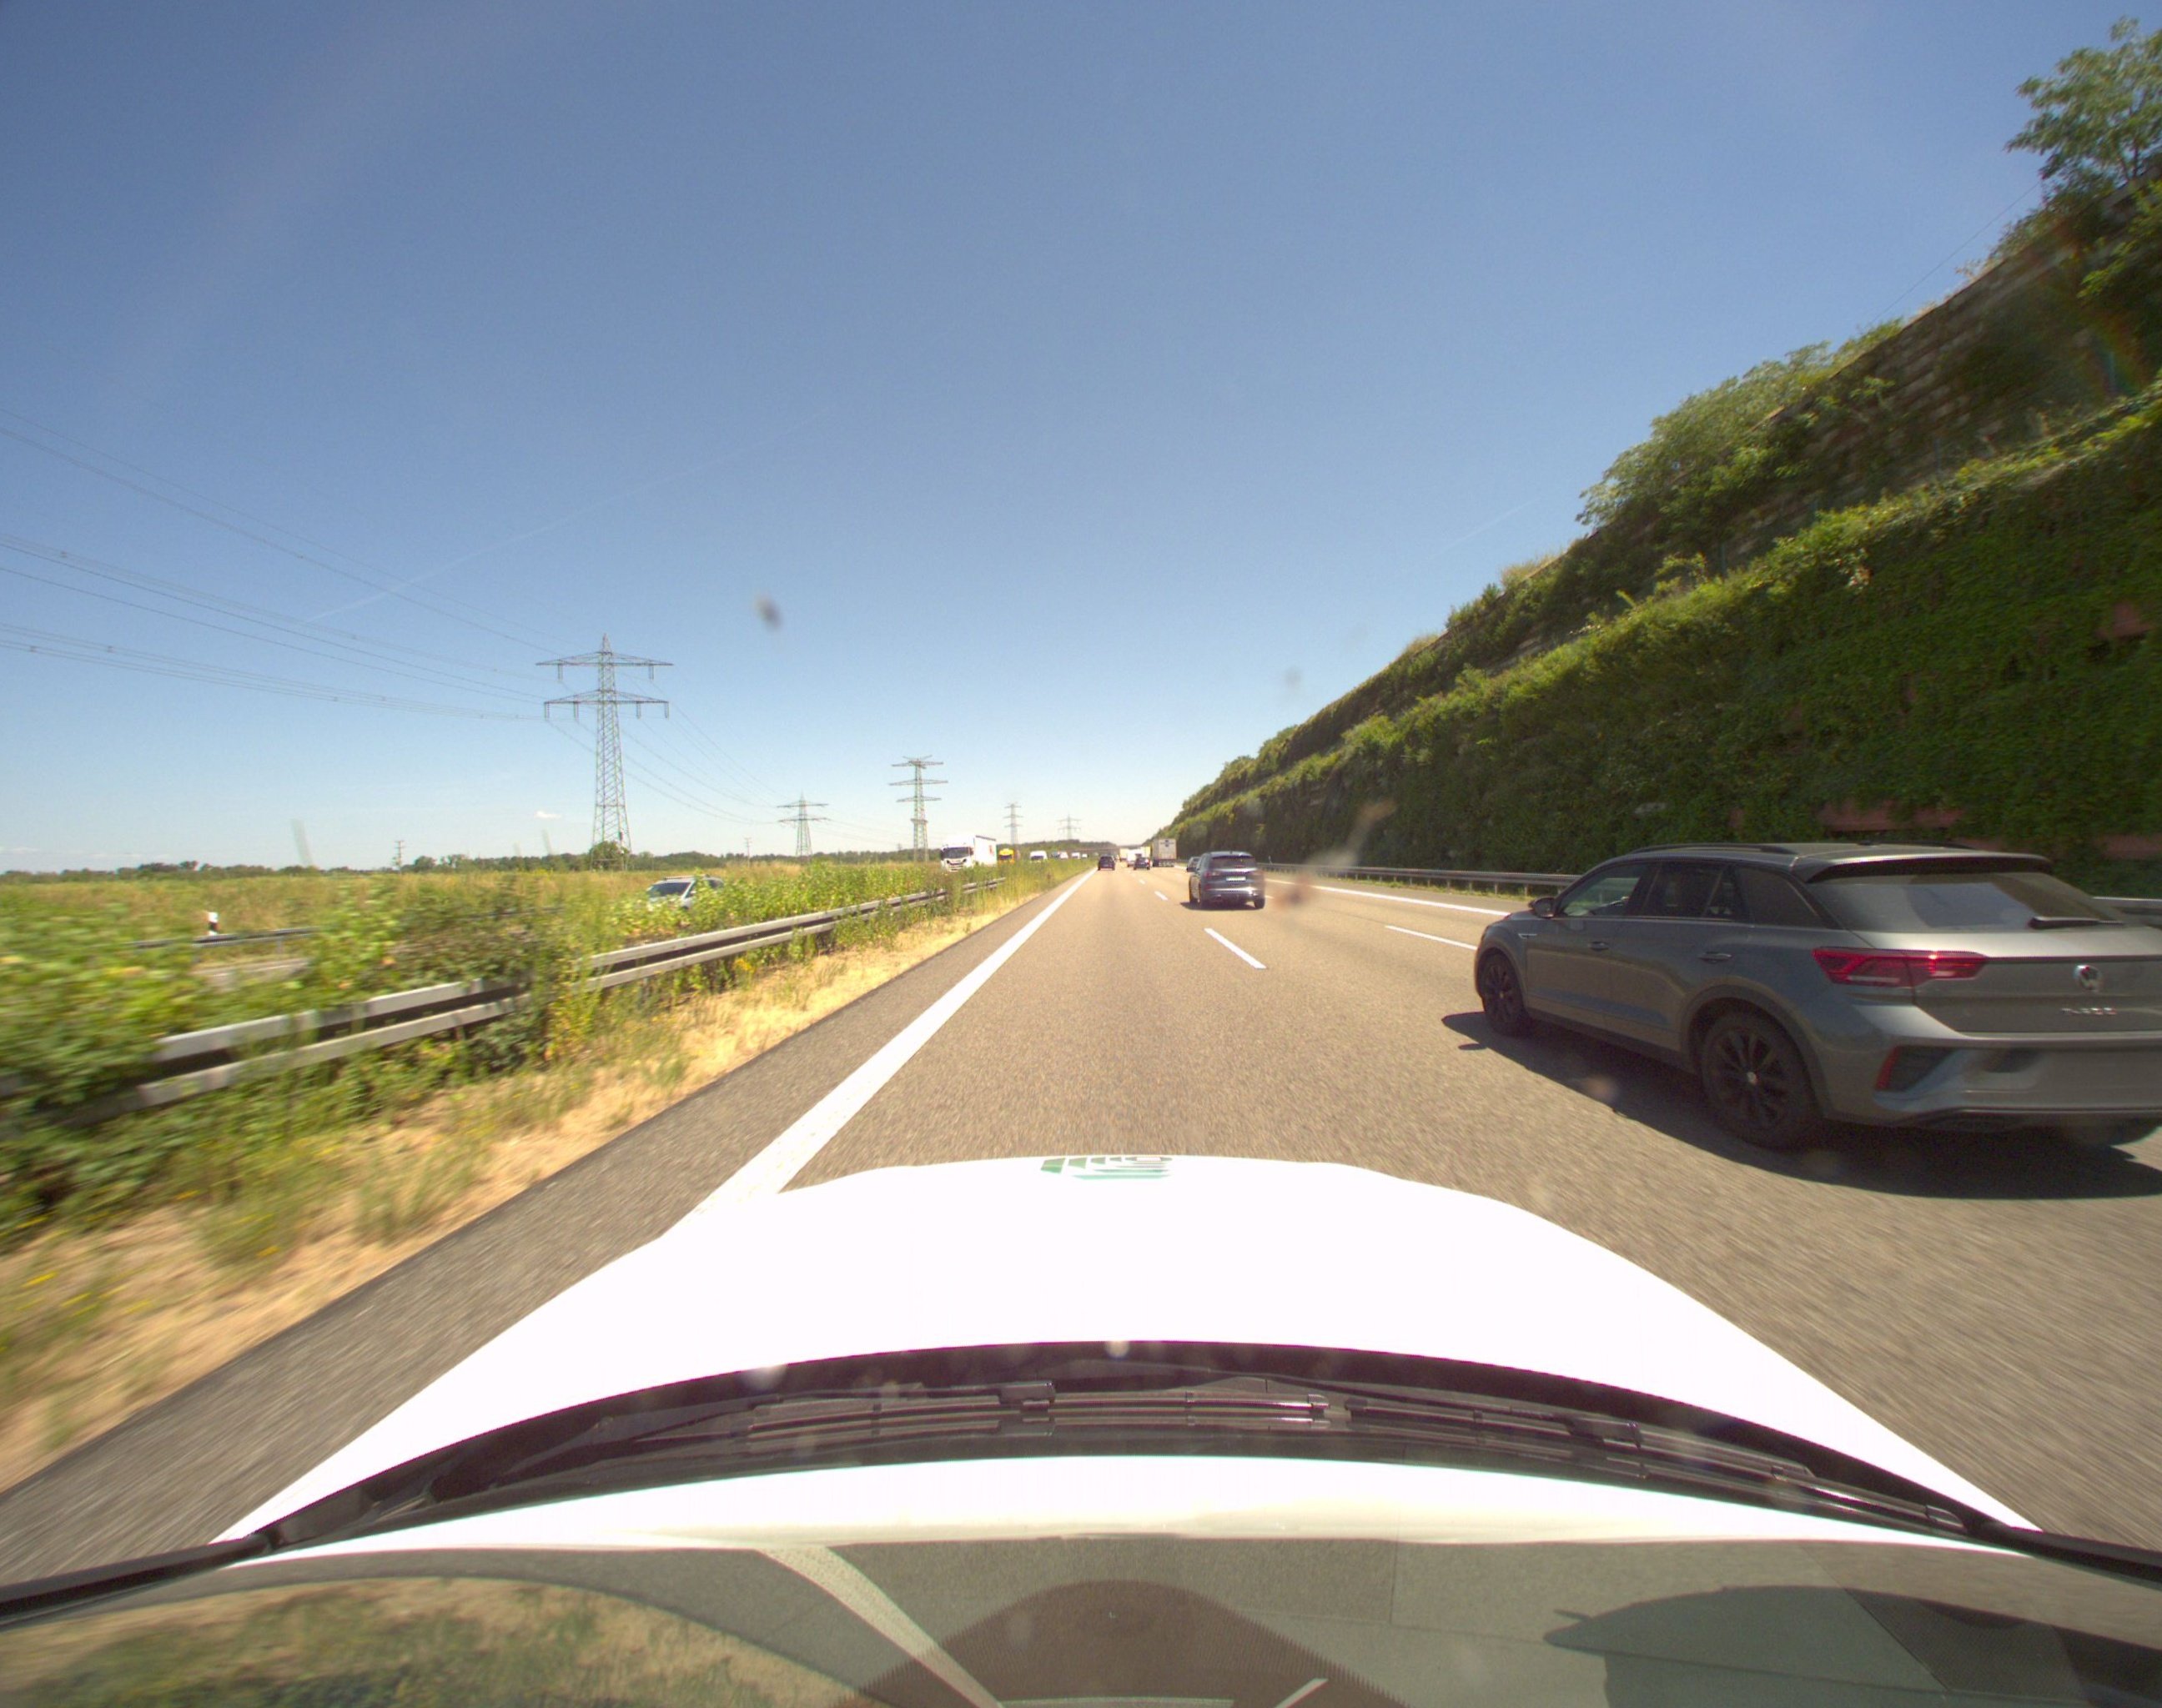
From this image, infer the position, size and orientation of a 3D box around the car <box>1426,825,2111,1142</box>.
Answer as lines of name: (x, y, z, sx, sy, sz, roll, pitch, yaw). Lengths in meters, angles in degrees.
car: (4.253, 0.650, 6.041, 1.743, 1.525, 3.996, -2, 0, 1)

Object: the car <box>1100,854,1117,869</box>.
car: (3.167, 0.874, 94.812, 1.823, 1.670, 4.001, -2, 0, 1)

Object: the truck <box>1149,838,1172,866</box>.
truck: (12.349, -0.222, 126.603, 3.124, 4.142, 5.506, -2, 0, 2)

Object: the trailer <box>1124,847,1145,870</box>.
trailer: (7.916, 0.699, 121.657, 2.601, 3.213, 9.955, -2, 0, 1)

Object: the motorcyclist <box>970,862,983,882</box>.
motorcyclist: (-7.138, 1.235, 55.767, 0.705, 1.347, 1.014, -2, 0, 1)

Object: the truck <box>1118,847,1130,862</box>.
truck: (13.058, 0.121, 248.309, 3.396, 4.280, 10.612, -2, 0, 2)

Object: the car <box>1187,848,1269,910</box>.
car: (4.289, 0.687, 24.352, 1.787, 1.653, 4.139, -1, 0, 2)

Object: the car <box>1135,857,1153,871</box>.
car: (7.296, 1.127, 94.442, 1.822, 1.525, 4.003, -2, 0, 3)

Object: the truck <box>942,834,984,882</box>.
truck: (-10.705, 0.337, 74.573, 2.795, 4.158, 5.572, -1, 0, 2)

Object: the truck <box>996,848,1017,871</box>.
truck: (-12.708, 0.943, 139.144, 2.715, 3.727, 5.648, -2, 0, 2)

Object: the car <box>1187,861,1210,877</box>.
car: (11.126, 1.359, 77.256, 1.678, 1.428, 4.454, -1, 0, 1)

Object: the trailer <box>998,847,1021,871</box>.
trailer: (-12.519, 0.865, 143.603, 2.726, 4.045, 9.428, -2, 0, 2)

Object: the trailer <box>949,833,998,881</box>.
trailer: (-10.556, 0.278, 81.356, 2.760, 4.349, 14.240, -1, 0, 1)

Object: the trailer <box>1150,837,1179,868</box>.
trailer: (12.115, -0.200, 119.615, 3.171, 4.121, 13.437, -2, 0, 2)

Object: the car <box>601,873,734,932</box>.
car: (-12.280, 1.390, 24.503, 1.805, 1.480, 4.002, -2, 0, 2)

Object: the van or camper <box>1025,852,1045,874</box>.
van or camper: (-5.820, 1.099, 103.600, 1.986, 2.582, 6.287, -2, 0, 1)

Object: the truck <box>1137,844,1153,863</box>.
truck: (15.424, -0.059, 197.075, 3.107, 4.280, 11.939, -2, 0, 2)

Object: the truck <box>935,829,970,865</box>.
truck: (-14.176, -0.703, 90.393, 2.765, 3.853, 5.572, -1, 0, 2)
